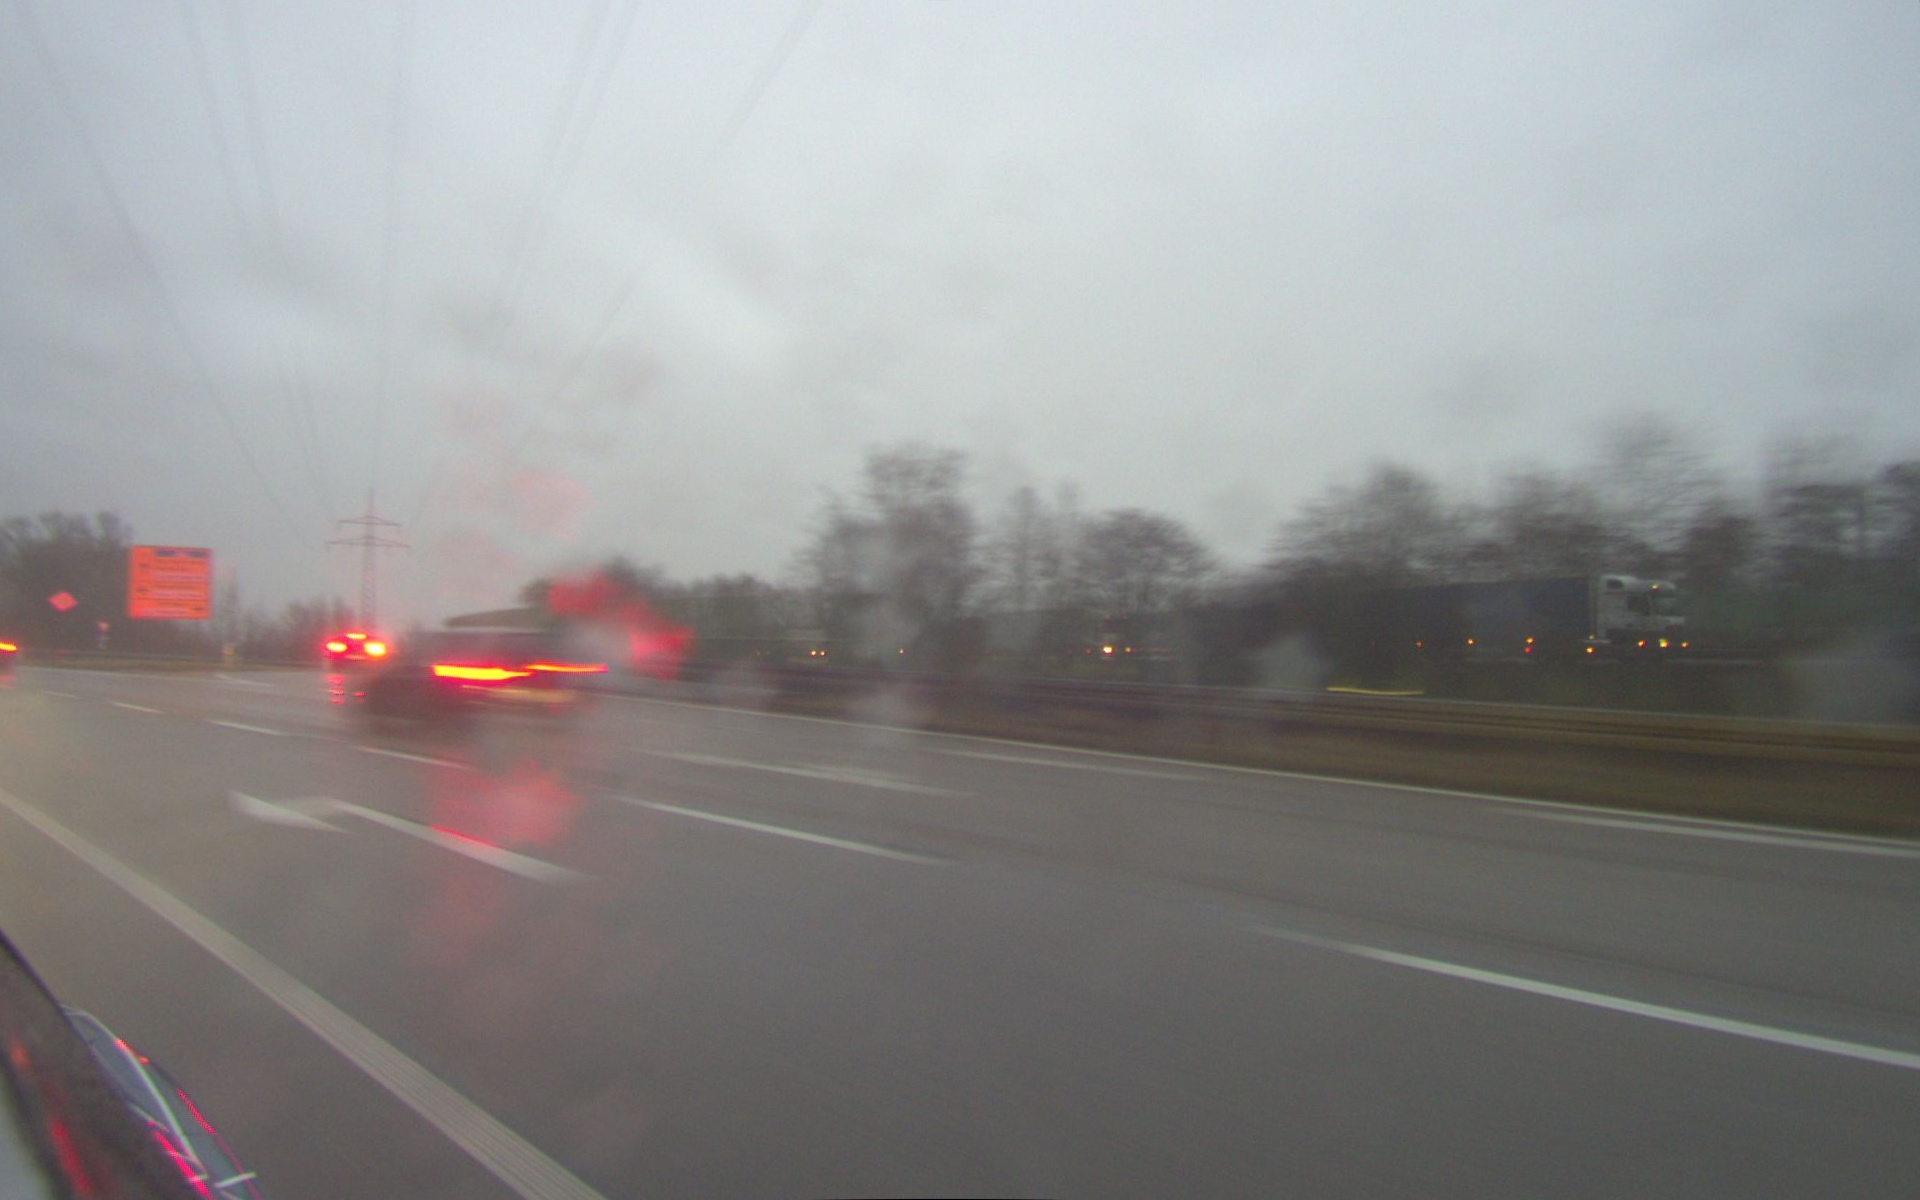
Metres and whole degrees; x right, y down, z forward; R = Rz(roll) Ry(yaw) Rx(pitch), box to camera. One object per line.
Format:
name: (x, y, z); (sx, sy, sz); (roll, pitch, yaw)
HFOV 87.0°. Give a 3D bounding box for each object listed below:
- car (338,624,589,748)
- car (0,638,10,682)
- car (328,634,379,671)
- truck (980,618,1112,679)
car: (-7.135, 1.127, 14.323); (4.447, 1.483, 1.619); (-2, -2, 41)
car: (-33.358, 2.004, 33.830); (3.993, 1.428, 1.679); (-2, -2, 37)
car: (-23.216, 1.971, 38.771); (1.573, 1.253, 4.012); (-2, -1, -30)
truck: (6.848, 3.870, 84.161); (3.230, 4.645, 13.915); (1, -2, -32)
